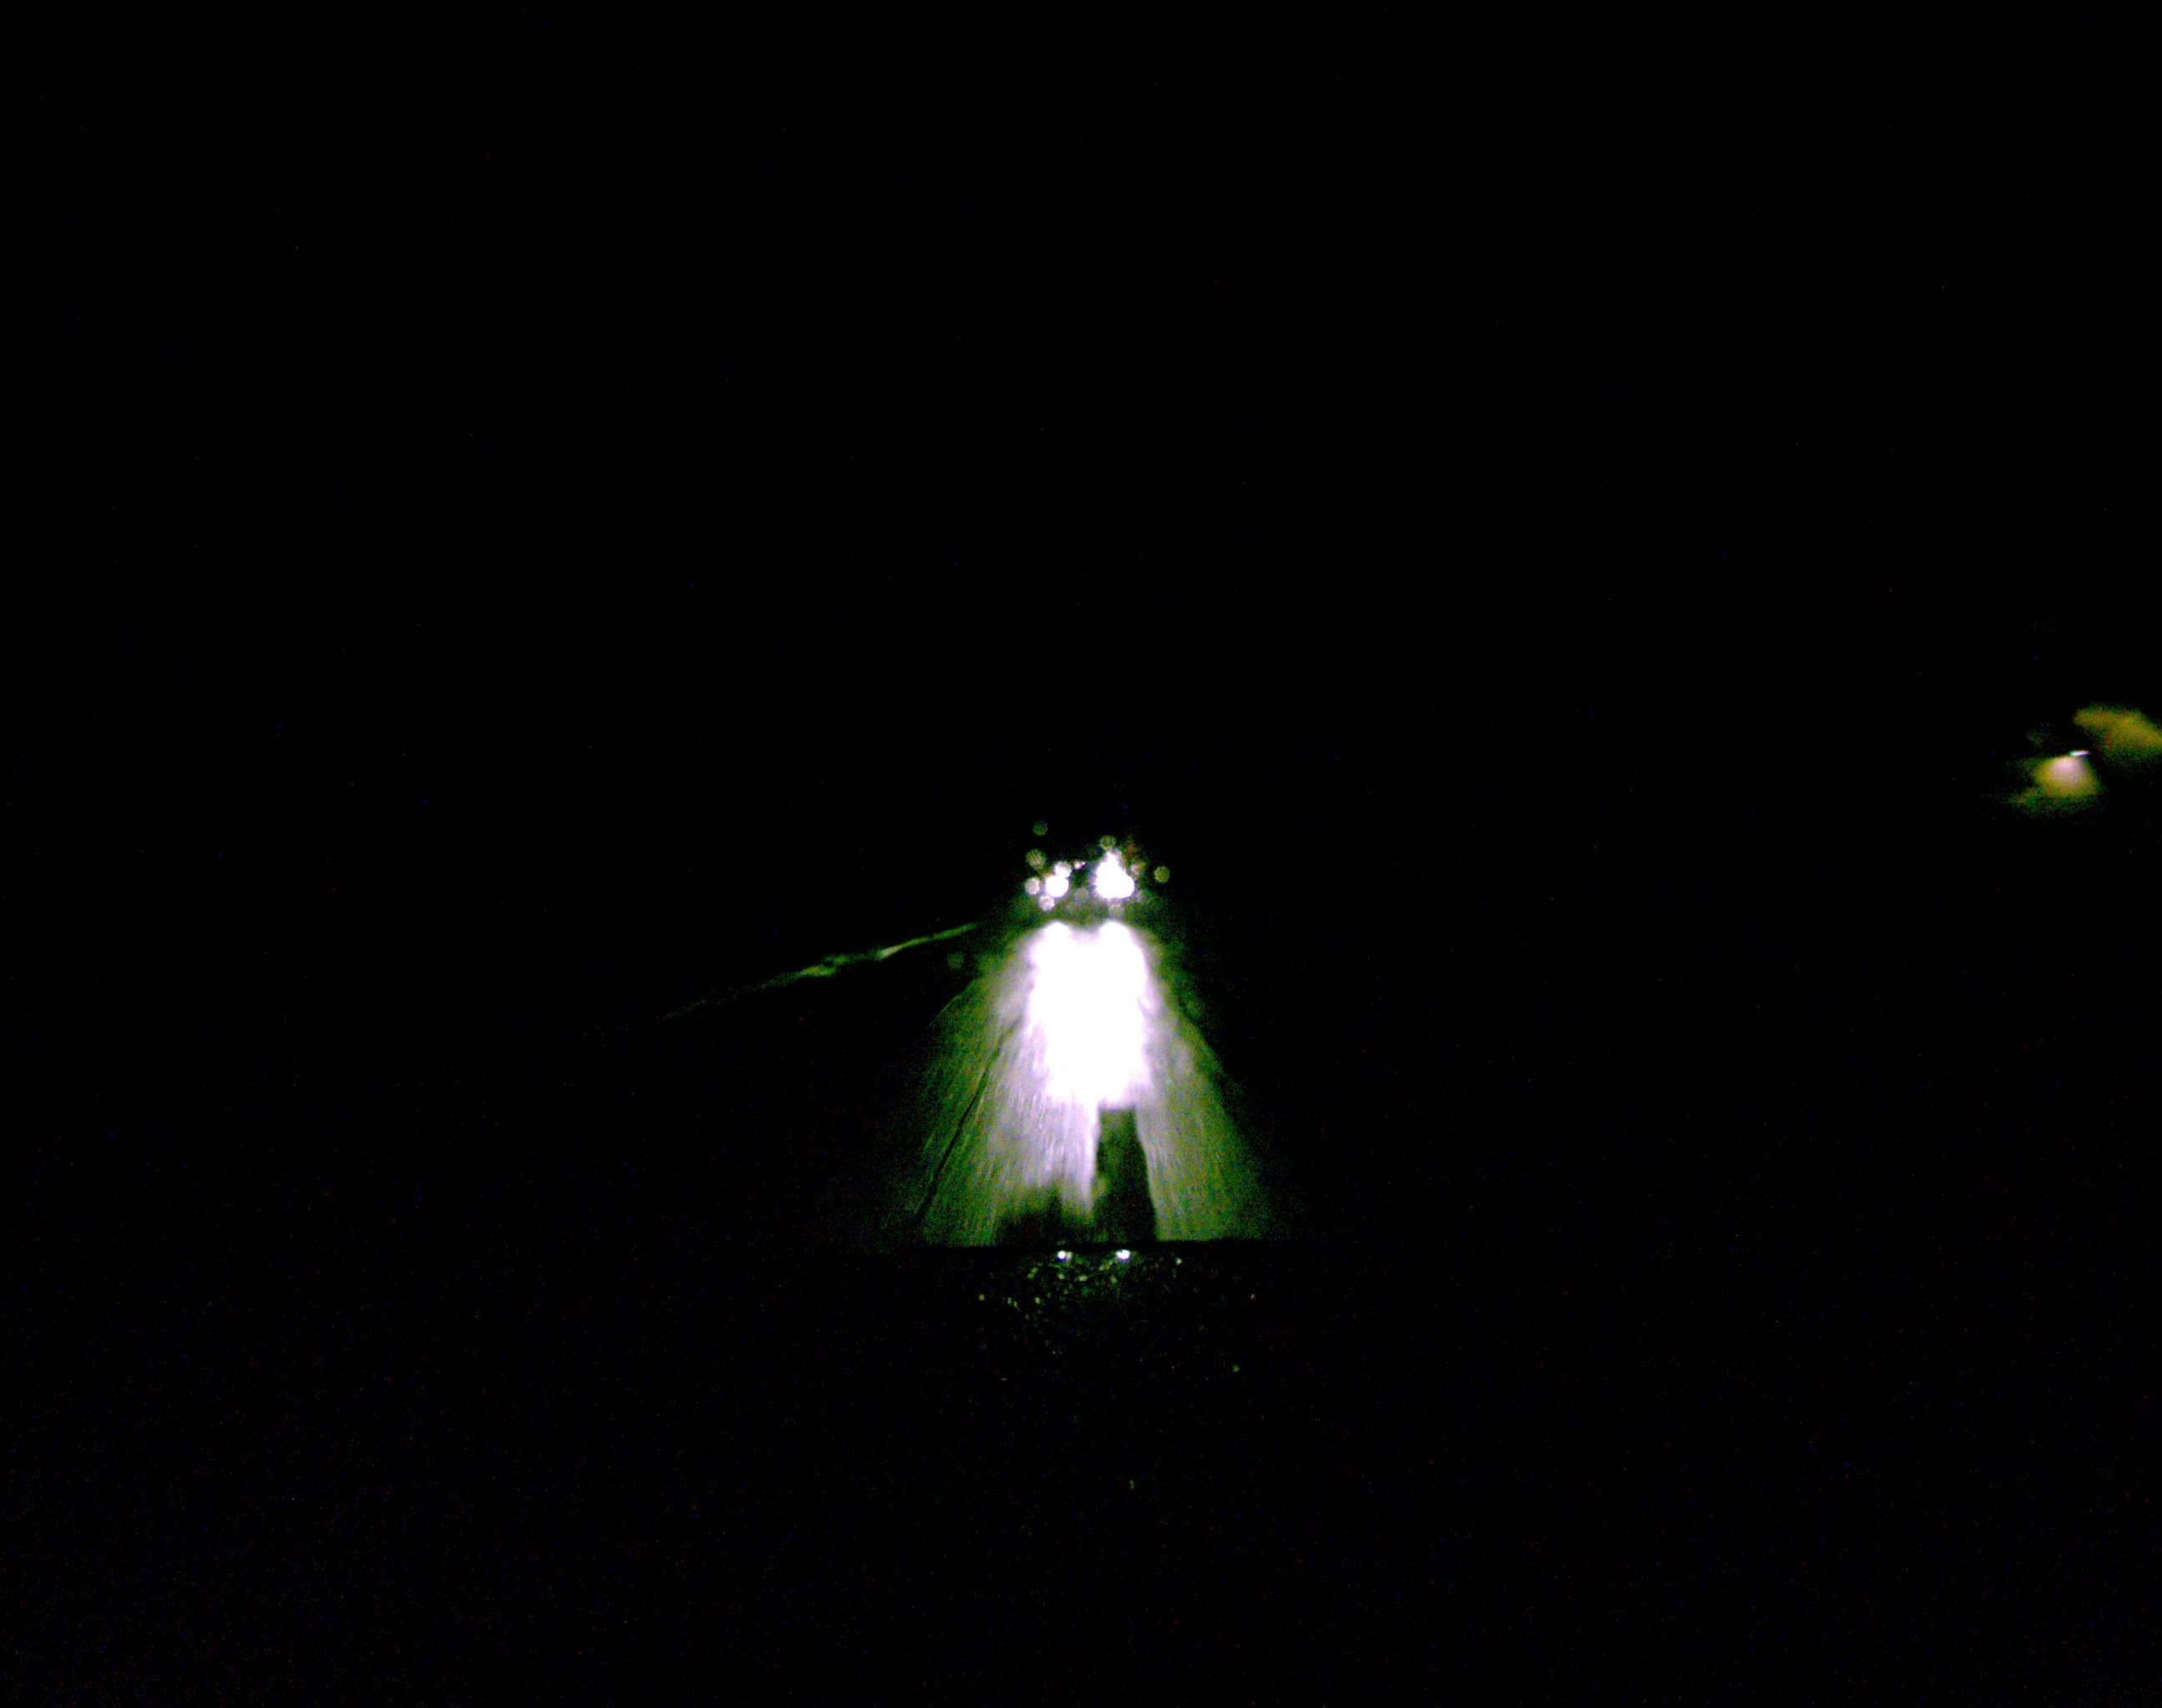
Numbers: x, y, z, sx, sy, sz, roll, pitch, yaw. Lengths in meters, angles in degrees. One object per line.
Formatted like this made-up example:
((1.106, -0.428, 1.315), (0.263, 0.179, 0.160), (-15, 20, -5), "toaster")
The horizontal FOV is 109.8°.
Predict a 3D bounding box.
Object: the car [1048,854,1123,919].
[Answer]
((0.144, 0.820, 21.337), (1.846, 1.565, 4.000), (-2, 1, 1), "car")

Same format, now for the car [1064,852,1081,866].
((-0.994, 0.581, 89.000), (1.846, 1.565, 4.000), (-2, 1, 1), "car")
